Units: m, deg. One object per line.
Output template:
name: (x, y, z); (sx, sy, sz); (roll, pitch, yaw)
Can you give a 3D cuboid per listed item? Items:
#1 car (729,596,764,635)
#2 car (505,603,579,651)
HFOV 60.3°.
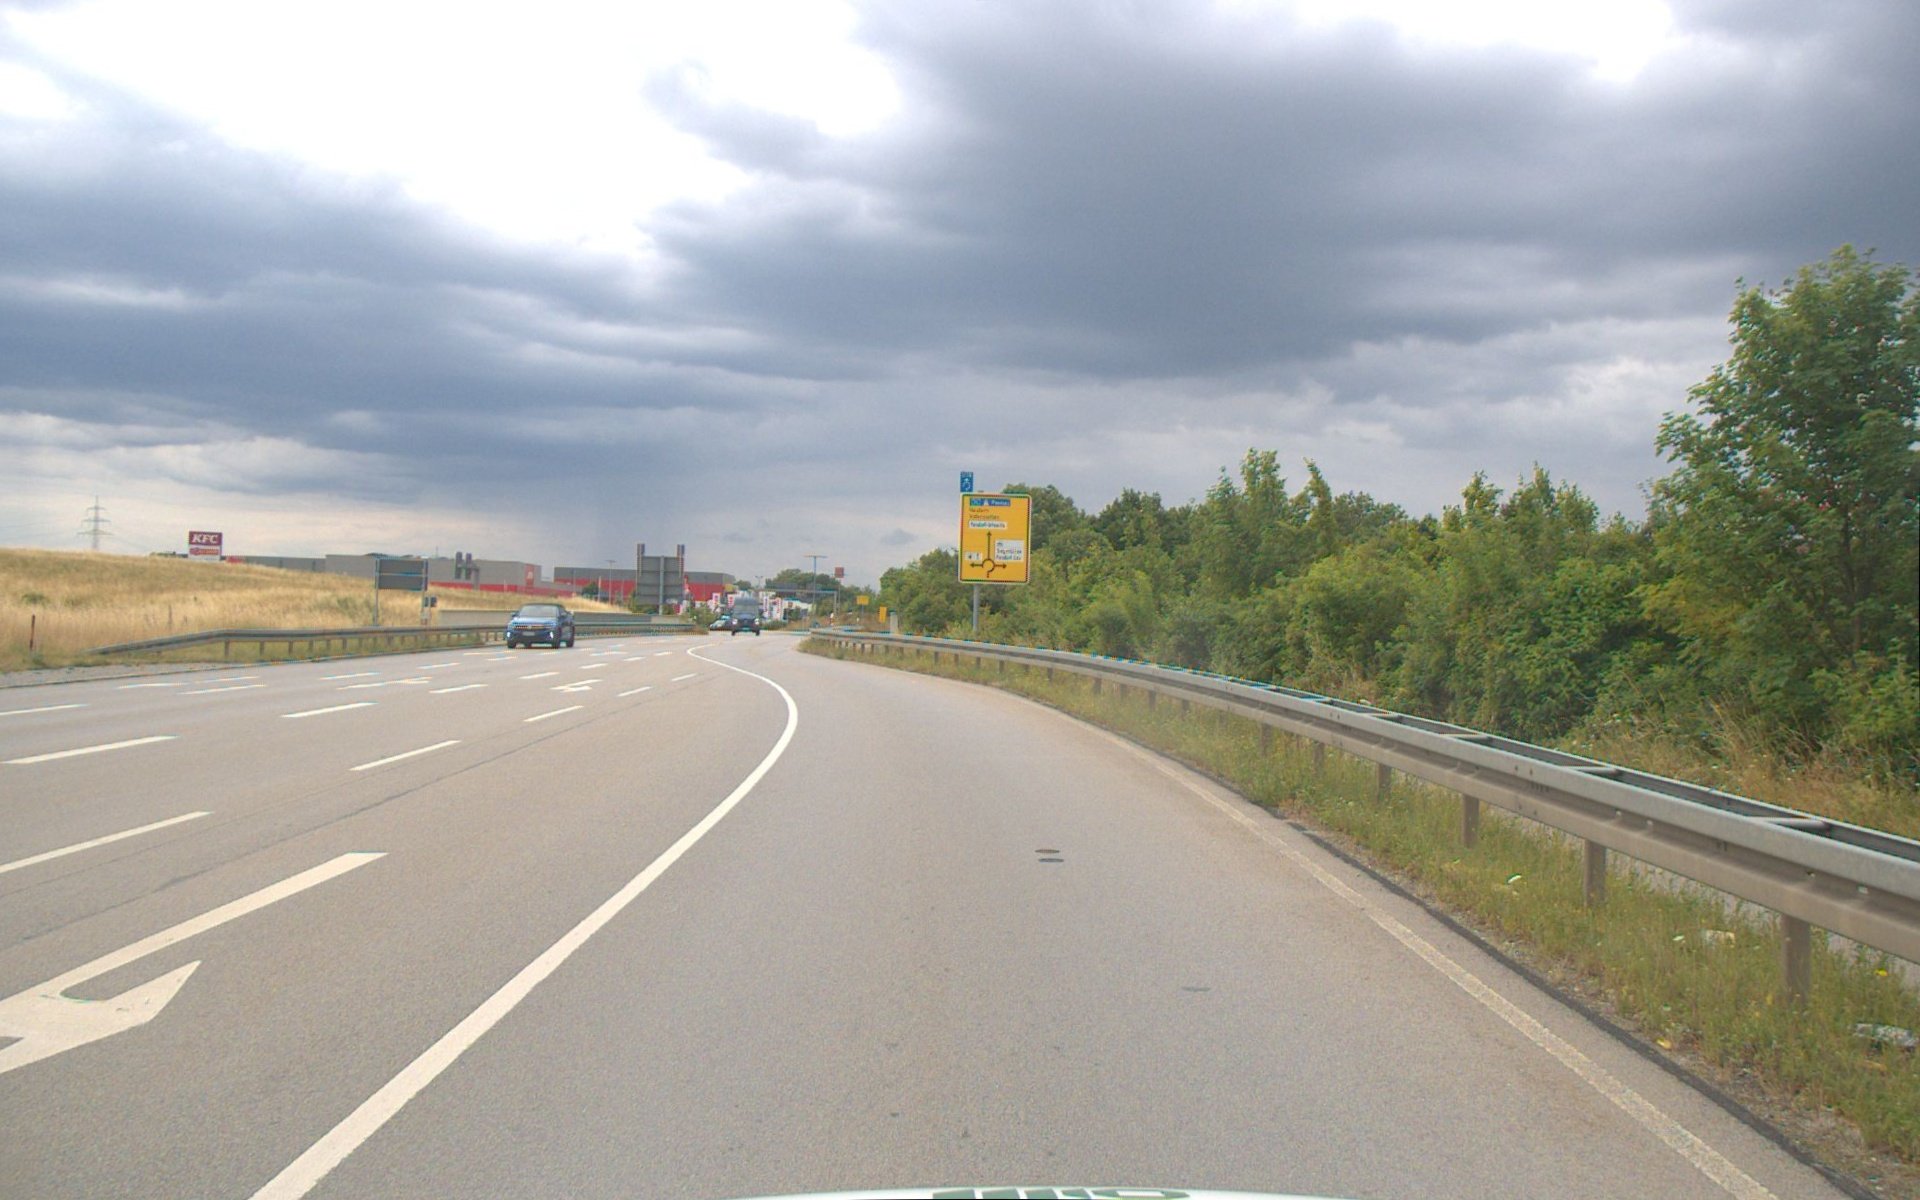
car: (-14.724, 1.072, 114.508); (1.954, 2.638, 5.999); (1, -1, -3)
car: (-14.744, 0.946, 58.540); (1.762, 1.578, 3.997); (1, -1, -3)
